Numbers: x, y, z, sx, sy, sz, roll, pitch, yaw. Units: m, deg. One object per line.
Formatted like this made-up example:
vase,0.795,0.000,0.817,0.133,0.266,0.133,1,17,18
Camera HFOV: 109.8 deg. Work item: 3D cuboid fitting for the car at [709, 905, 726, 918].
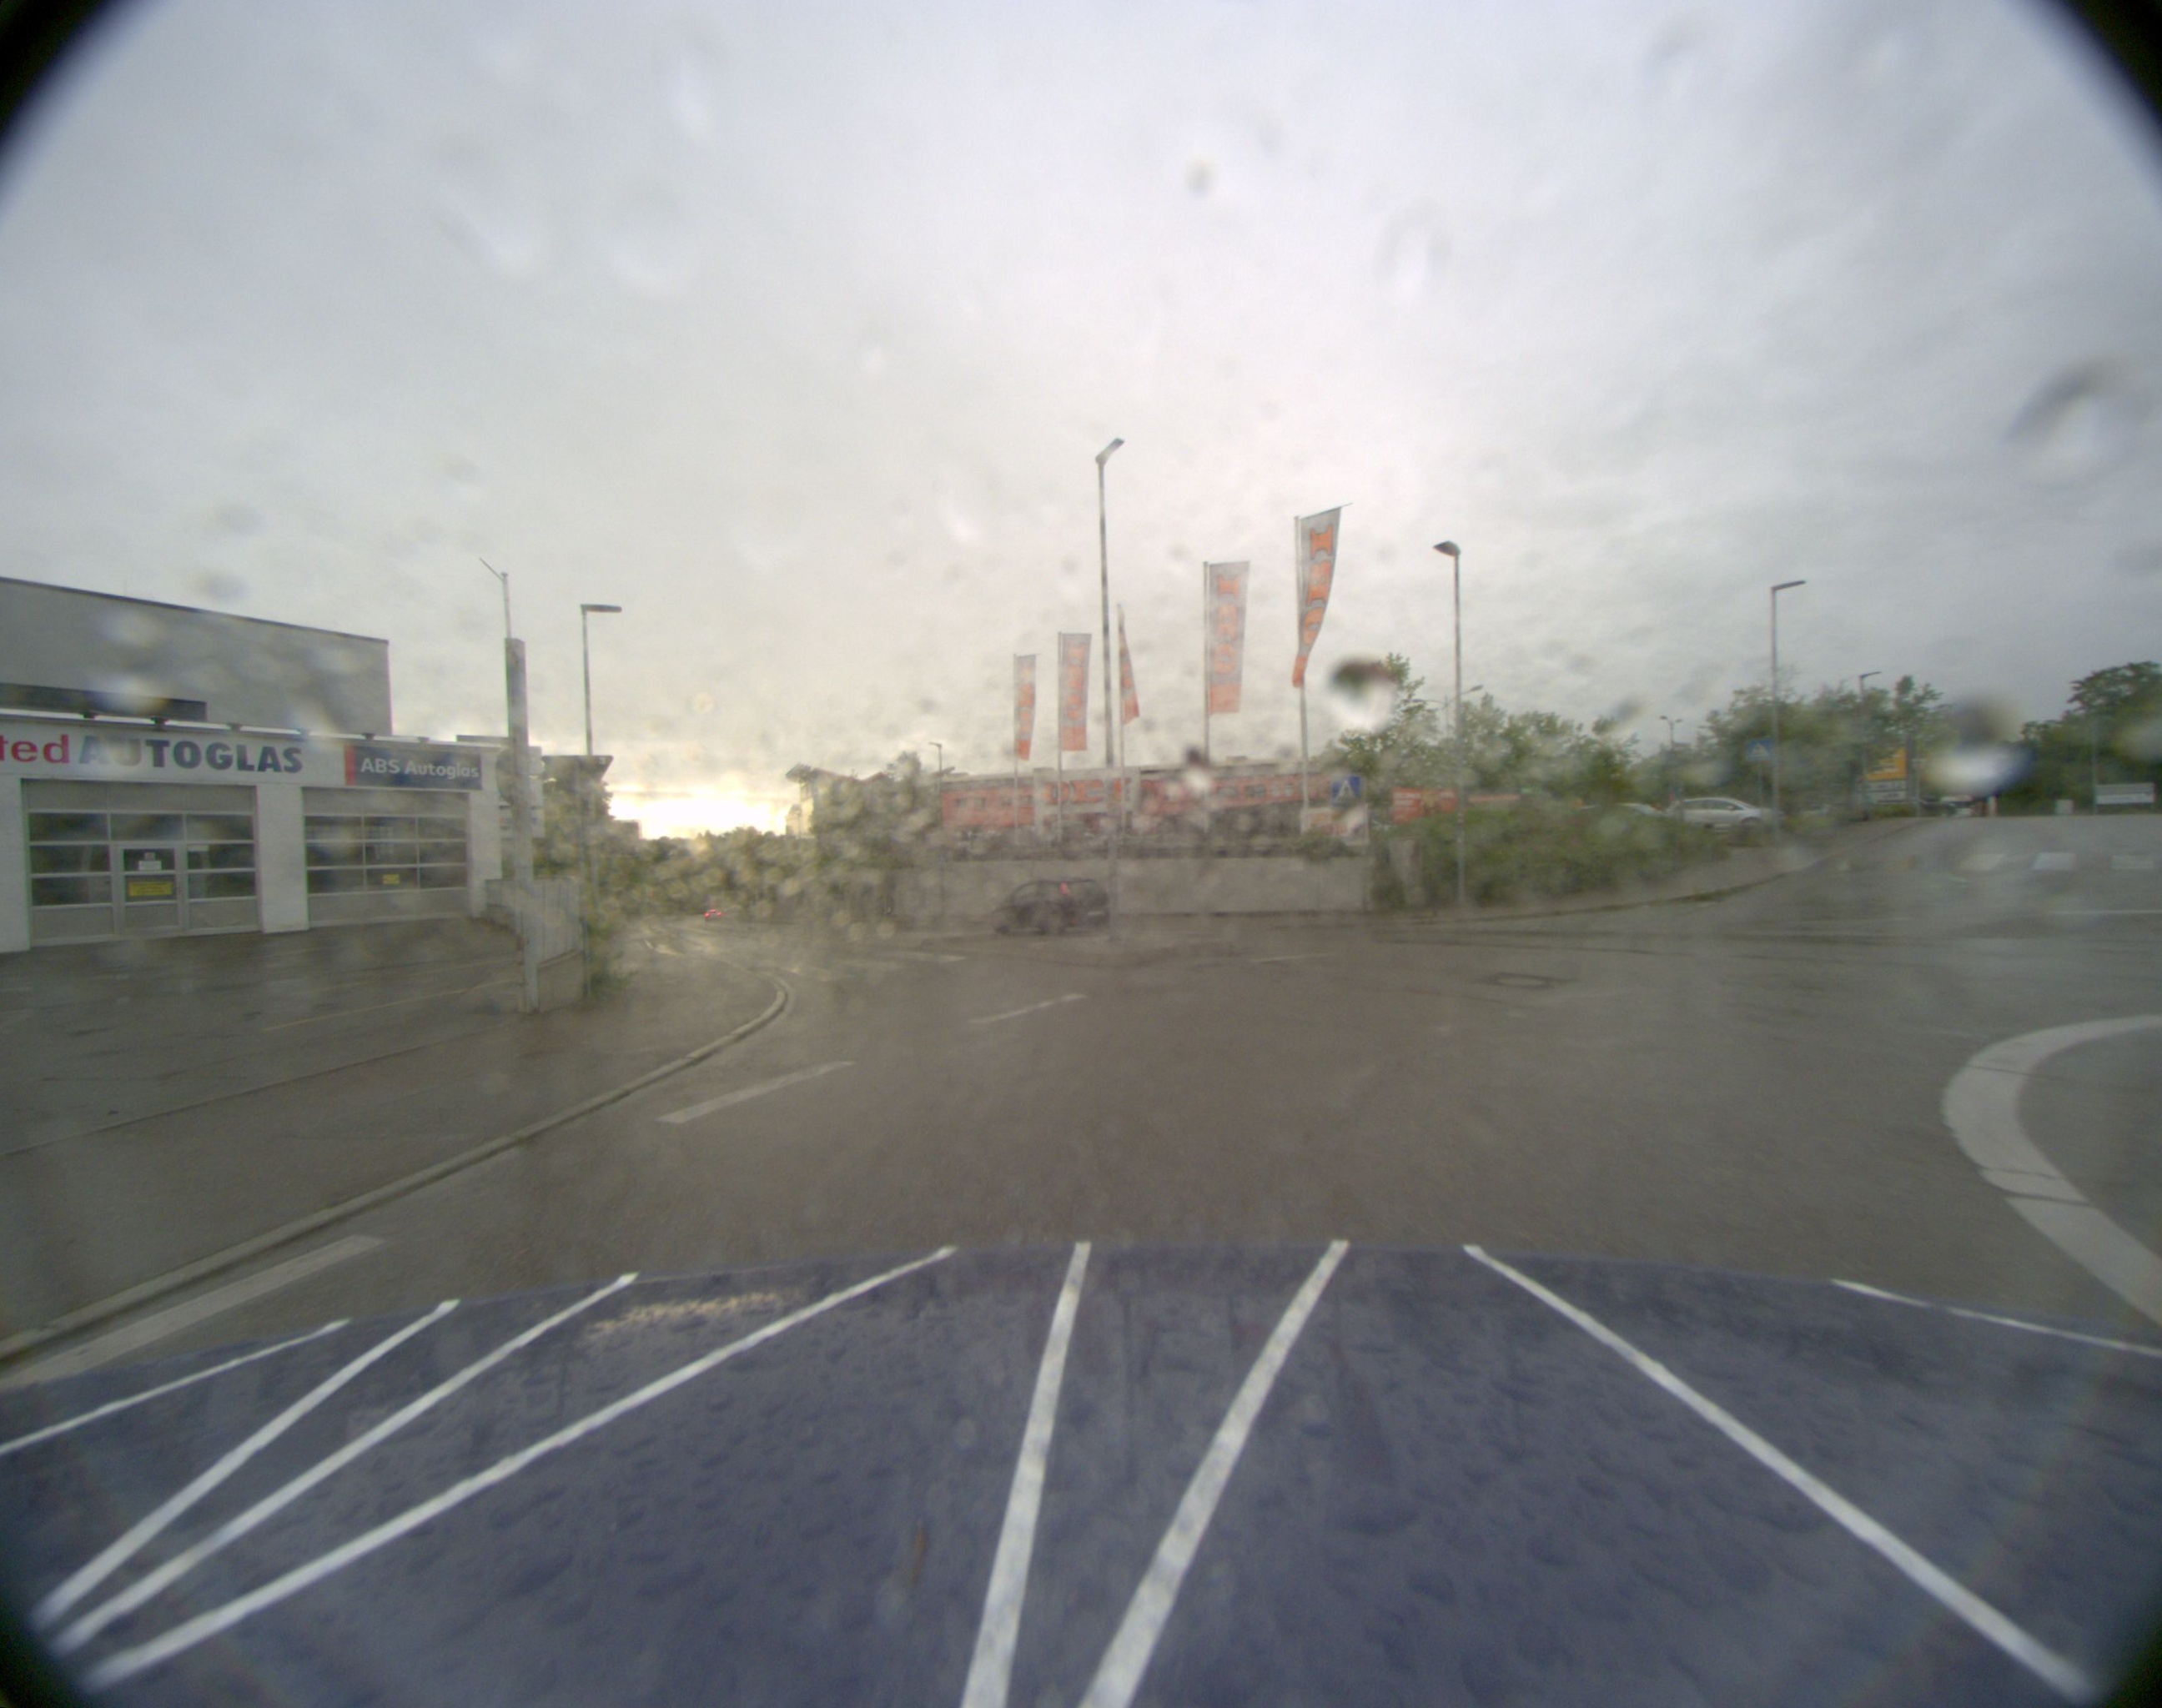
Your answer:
car,-44.653,7.075,93.341,1.813,1.455,3.993,-2,-2,-26

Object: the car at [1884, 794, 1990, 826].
car,51.152,-2.604,45.486,2.003,1.586,3.990,-2,0,-35

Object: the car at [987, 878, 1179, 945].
car,-0.140,1.349,19.493,2.003,1.374,5.329,-3,0,-38

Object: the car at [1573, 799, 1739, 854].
car,19.838,-0.894,26.386,2.003,1.696,4.096,-2,0,-32

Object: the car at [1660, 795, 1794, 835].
car,27.707,-1.629,32.716,2.003,1.433,3.990,-2,0,-35
